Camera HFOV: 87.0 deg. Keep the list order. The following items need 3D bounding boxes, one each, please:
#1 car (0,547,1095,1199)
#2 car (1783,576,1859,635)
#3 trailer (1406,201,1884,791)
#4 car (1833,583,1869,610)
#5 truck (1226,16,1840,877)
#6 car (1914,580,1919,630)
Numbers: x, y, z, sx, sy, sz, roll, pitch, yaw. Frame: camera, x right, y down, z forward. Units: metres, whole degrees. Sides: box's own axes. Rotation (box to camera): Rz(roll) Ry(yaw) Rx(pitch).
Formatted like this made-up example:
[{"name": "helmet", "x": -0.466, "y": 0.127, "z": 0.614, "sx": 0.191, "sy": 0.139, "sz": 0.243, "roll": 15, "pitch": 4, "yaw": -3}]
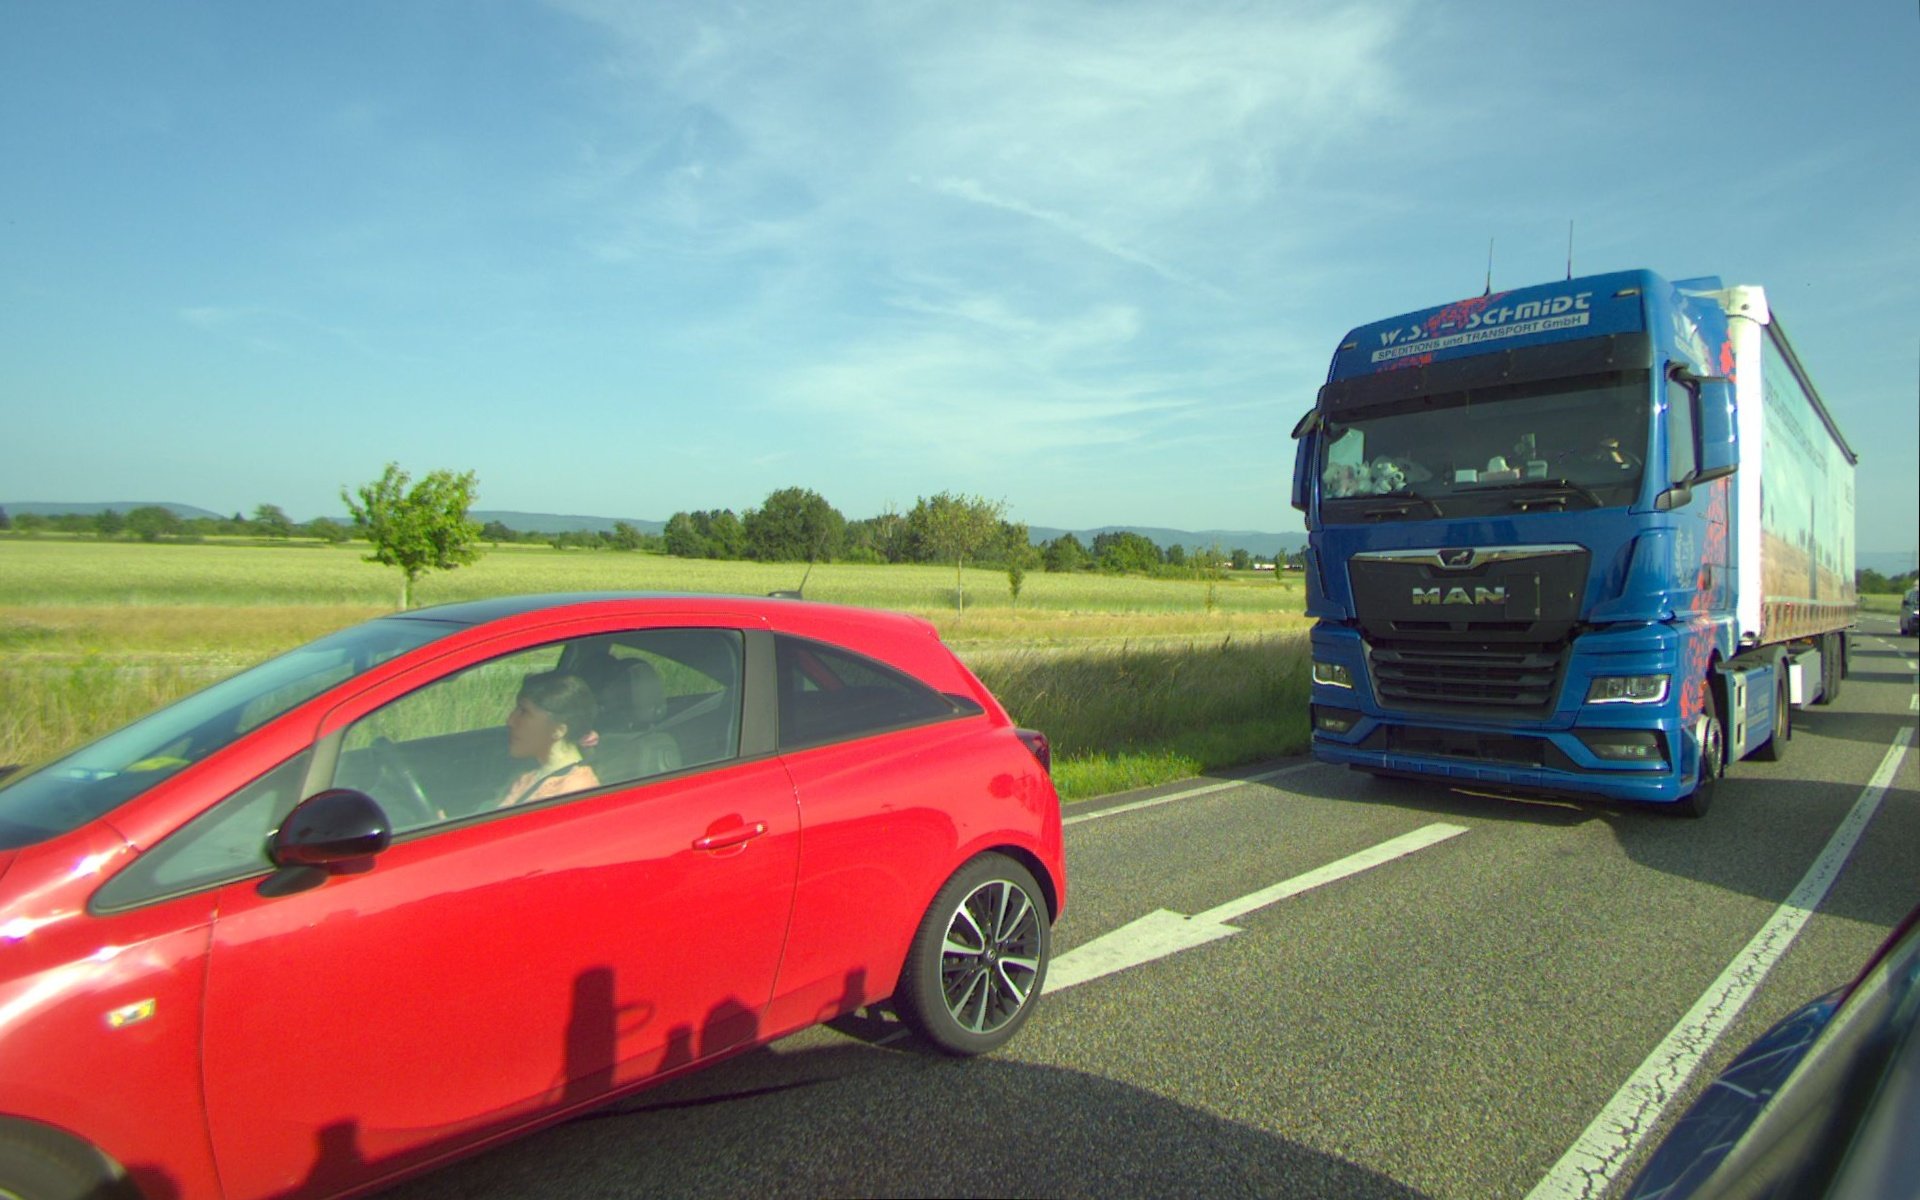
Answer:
[{"name": "car", "x": -1.434, "y": 0.672, "z": 2.885, "sx": 3.689, "sy": 1.568, "sz": 1.698, "roll": 0, "pitch": 2, "yaw": -44}, {"name": "car", "x": 31.441, "y": 0.164, "z": 36.998, "sx": 1.991, "sy": 2.039, "sz": 3.942, "roll": 1, "pitch": 1, "yaw": 40}, {"name": "trailer", "x": 10.268, "y": -0.964, "z": 13.950, "sx": 3.282, "sy": 4.739, "sz": 12.939, "roll": 0, "pitch": 1, "yaw": 44}, {"name": "car", "x": 70.844, "y": -0.276, "z": 80.491, "sx": 1.991, "sy": 2.039, "sz": 3.942, "roll": 1, "pitch": 1, "yaw": 40}, {"name": "truck", "x": 5.204, "y": -0.884, "z": 8.743, "sx": 3.301, "sy": 4.716, "sz": 5.640, "roll": 0, "pitch": 1, "yaw": 44}, {"name": "car", "x": 38.670, "y": 0.219, "z": 39.701, "sx": 1.551, "sy": 1.944, "sz": 3.977, "roll": 2, "pitch": 1, "yaw": 40}]
